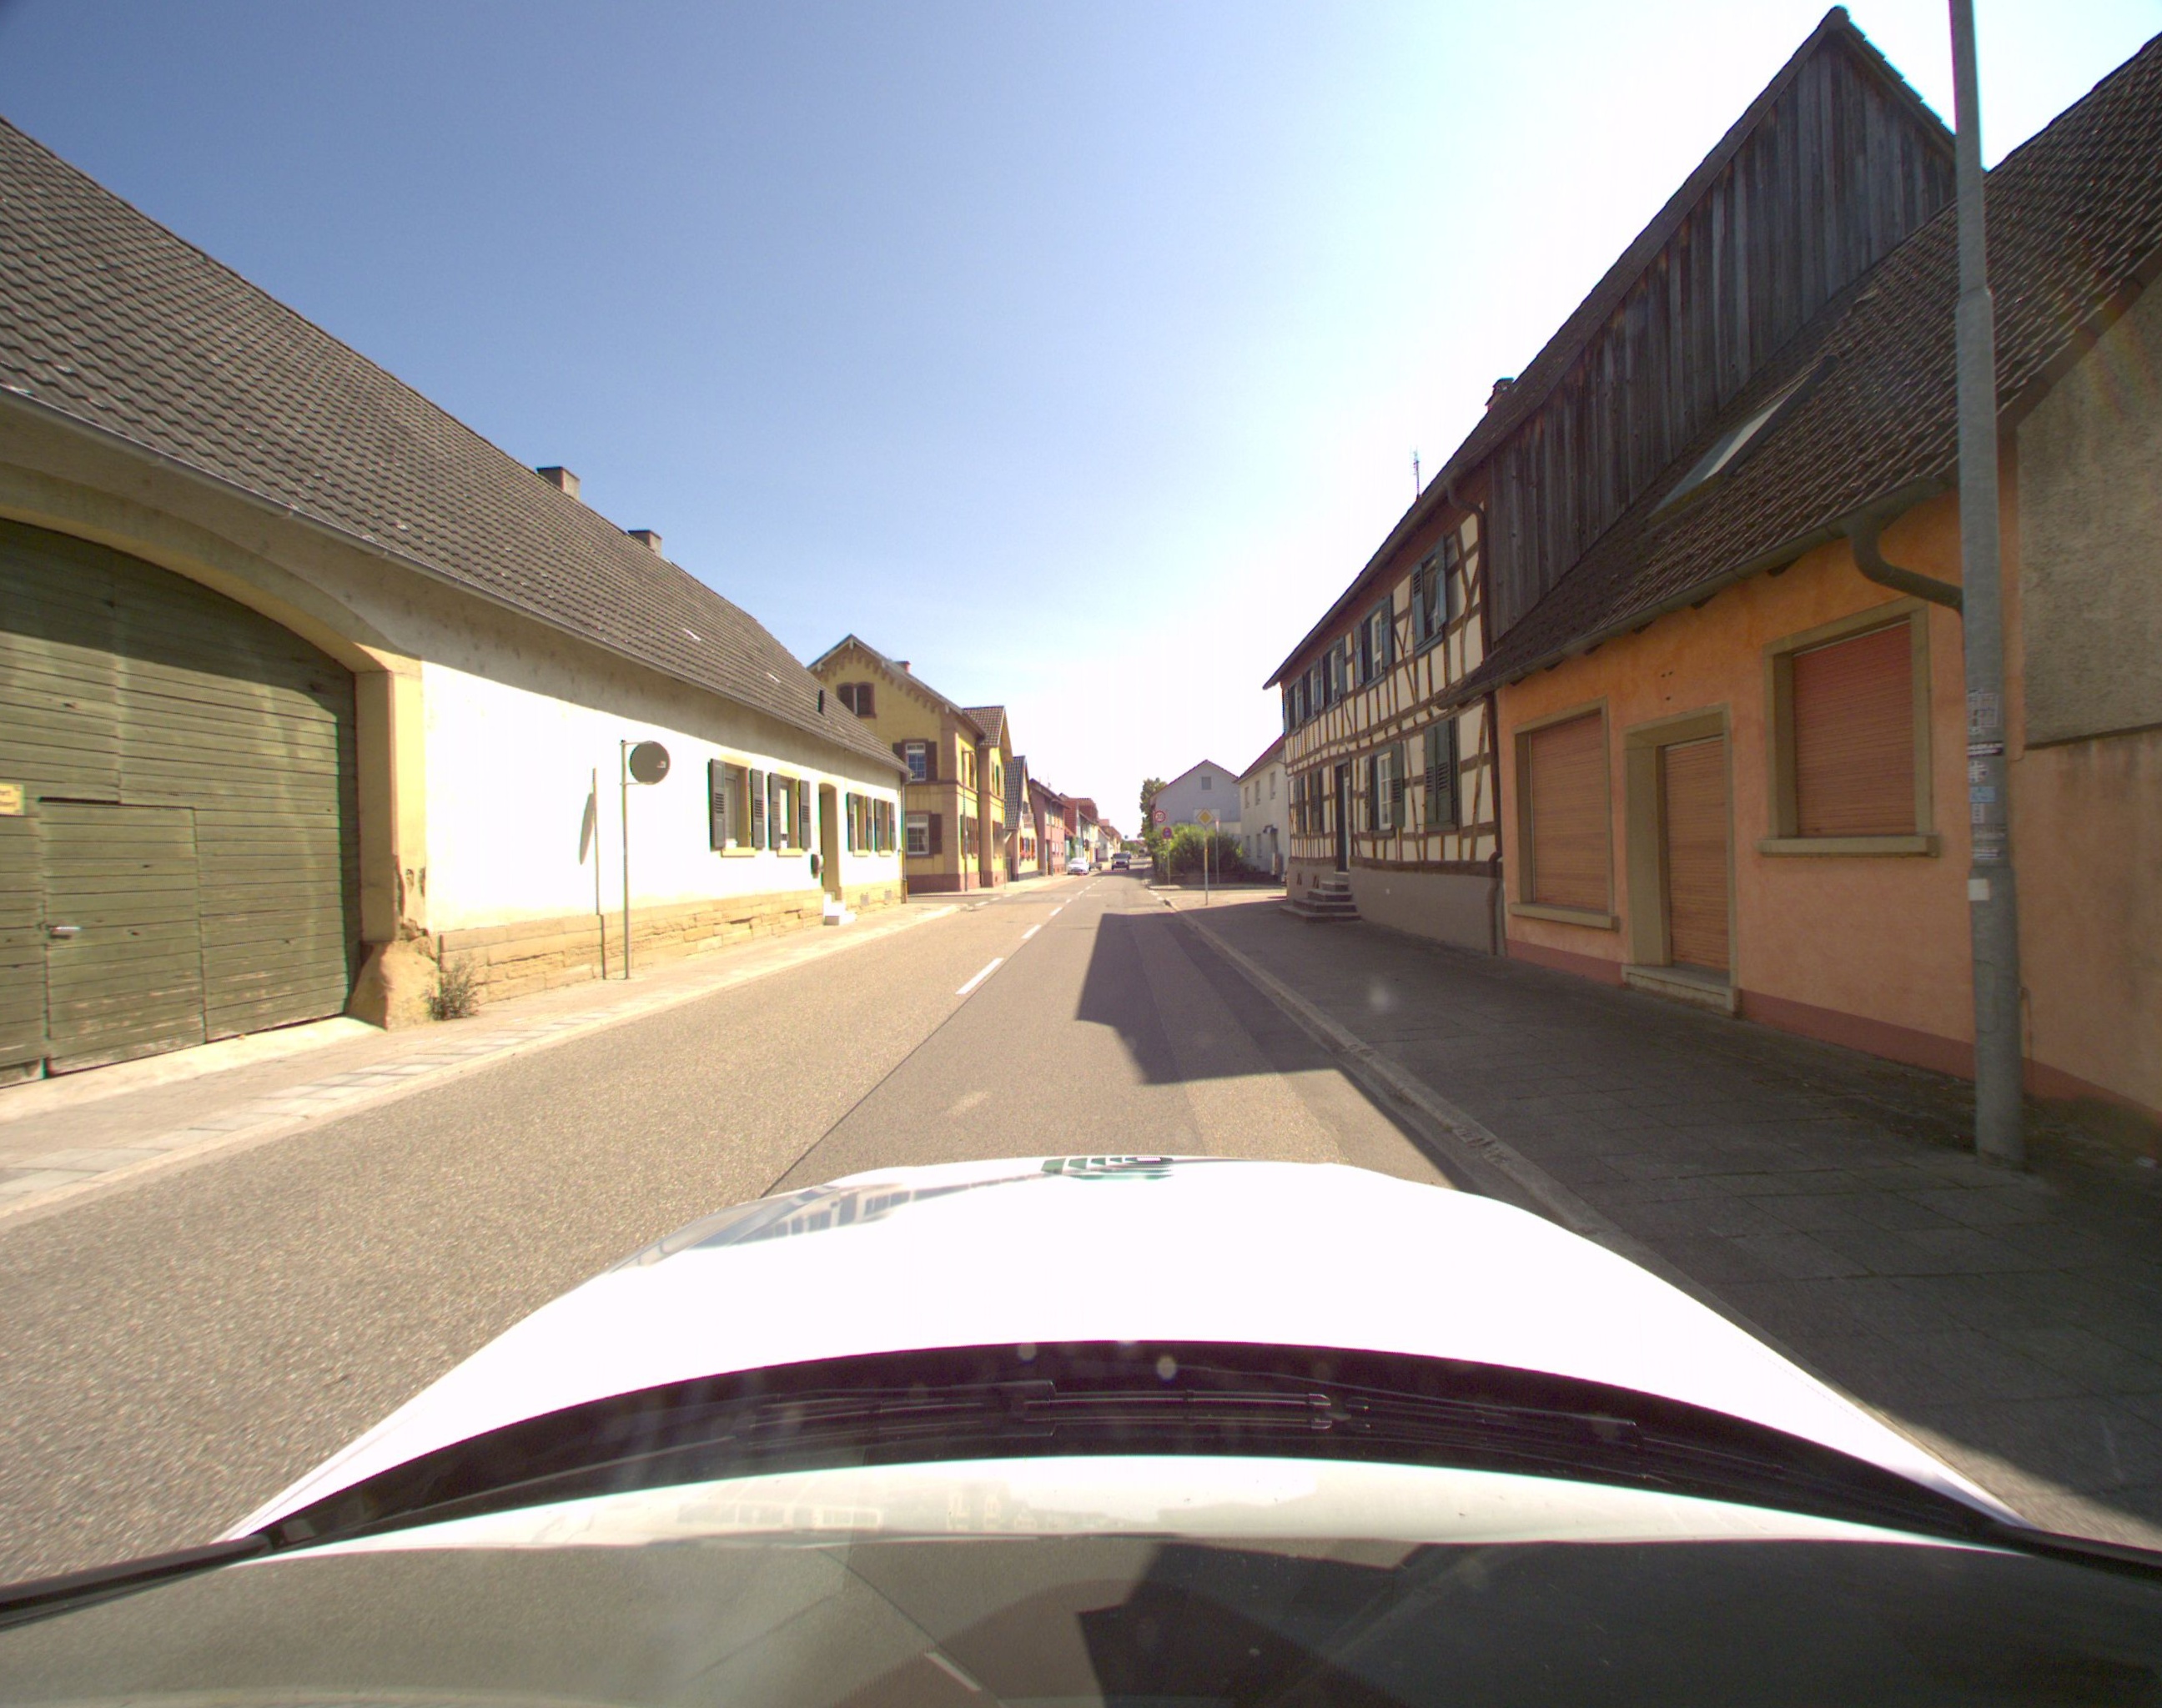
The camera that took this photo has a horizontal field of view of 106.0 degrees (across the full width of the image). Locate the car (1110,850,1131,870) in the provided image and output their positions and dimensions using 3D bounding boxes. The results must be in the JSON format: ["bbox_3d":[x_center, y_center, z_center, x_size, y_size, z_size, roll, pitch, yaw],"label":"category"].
[{"bbox_3d":[4.410,0.673,91.567,2.150,2.080,4.001,-2,-2,2],"label":"car"}]

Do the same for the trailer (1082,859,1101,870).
[{"bbox_3d":[1.195,1.116,90.636,1.986,1.090,4.002,-2,0,2],"label":"trailer"}]

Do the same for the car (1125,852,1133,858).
[{"bbox_3d":[11.854,0.214,200.822,1.860,1.544,3.840,-3,0,2],"label":"car"}]

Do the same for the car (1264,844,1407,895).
[{"bbox_3d":[8.171,0.494,26.381,3.976,1.442,1.999,-2,0,-2],"label":"car"}]

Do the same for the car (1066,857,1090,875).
[{"bbox_3d":[-0.243,1.084,73.890,1.985,1.442,4.003,-2,0,3],"label":"car"}]

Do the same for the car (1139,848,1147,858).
[{"bbox_3d":[16.979,-0.231,224.273,2.009,2.567,4.002,-2,0,2],"label":"car"}]
